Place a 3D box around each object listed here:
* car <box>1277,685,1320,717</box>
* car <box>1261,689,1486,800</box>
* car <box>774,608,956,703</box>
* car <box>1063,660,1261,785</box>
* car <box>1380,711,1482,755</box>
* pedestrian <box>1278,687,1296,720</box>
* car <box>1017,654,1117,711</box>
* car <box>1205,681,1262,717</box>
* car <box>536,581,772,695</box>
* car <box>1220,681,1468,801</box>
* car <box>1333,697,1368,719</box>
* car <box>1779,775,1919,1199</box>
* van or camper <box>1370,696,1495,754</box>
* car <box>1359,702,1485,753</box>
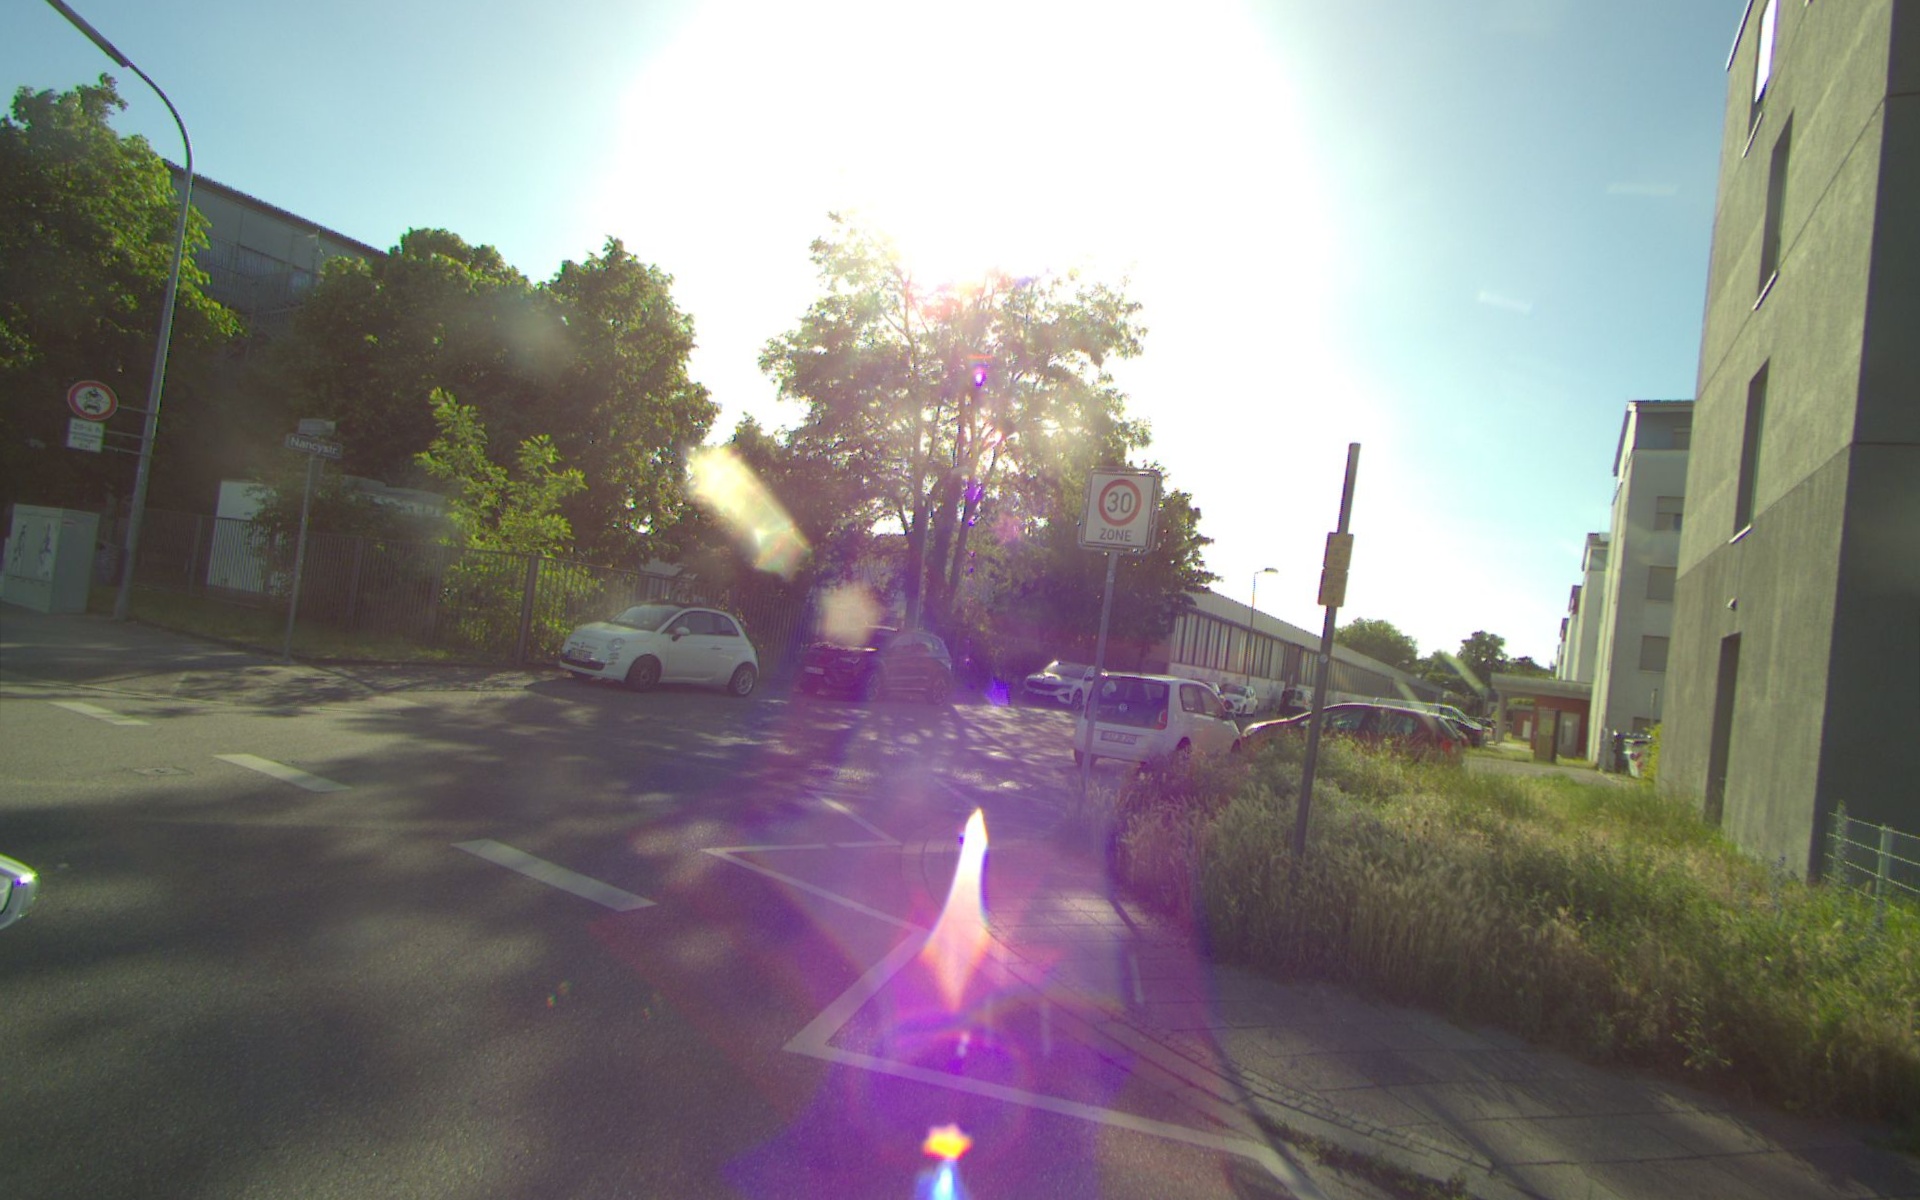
[{"bbox_3d":[21.281,6.351,63.107,1.683,1.687,3.997,6,-3,30],"label":"car"},{"bbox_3d":[8.402,2.866,20.510,3.932,1.538,1.697,6,-2,30],"label":"car"},{"bbox_3d":[-1.954,1.278,21.973,1.726,1.655,4.163,6,-3,30],"label":"car"},{"bbox_3d":[3.162,1.847,15.298,1.687,1.474,3.332,6,-3,34],"label":"car"},{"bbox_3d":[21.558,6.058,46.102,4.018,1.365,1.762,6,-2,30],"label":"car"},{"bbox_3d":[17.576,5.591,54.120,0.657,1.680,0.486,6,-2,30],"label":"pedestrian"},{"bbox_3d":[3.462,2.662,31.886,1.682,1.453,3.999,6,-3,28],"label":"car"},{"bbox_3d":[13.235,4.804,48.565,1.682,1.453,3.999,6,-3,28],"label":"car"},{"bbox_3d":[-5.018,0.698,16.934,1.573,1.502,3.555,6,-3,30],"label":"car"},{"bbox_3d":[7.029,2.509,18.488,3.932,1.487,1.697,6,-2,30],"label":"car"},{"bbox_3d":[31.567,8.730,81.286,1.955,1.453,3.997,4,-4,30],"label":"car"},{"bbox_3d":[3.726,1.324,0.848,4.375,1.516,1.825,6,-3,29],"label":"car"},{"bbox_3d":[23.092,6.069,49.254,5.209,1.980,1.998,6,-2,32],"label":"van or camper"},{"bbox_3d":[19.163,5.251,41.756,4.523,1.364,1.999,6,-3,30],"label":"car"}]
